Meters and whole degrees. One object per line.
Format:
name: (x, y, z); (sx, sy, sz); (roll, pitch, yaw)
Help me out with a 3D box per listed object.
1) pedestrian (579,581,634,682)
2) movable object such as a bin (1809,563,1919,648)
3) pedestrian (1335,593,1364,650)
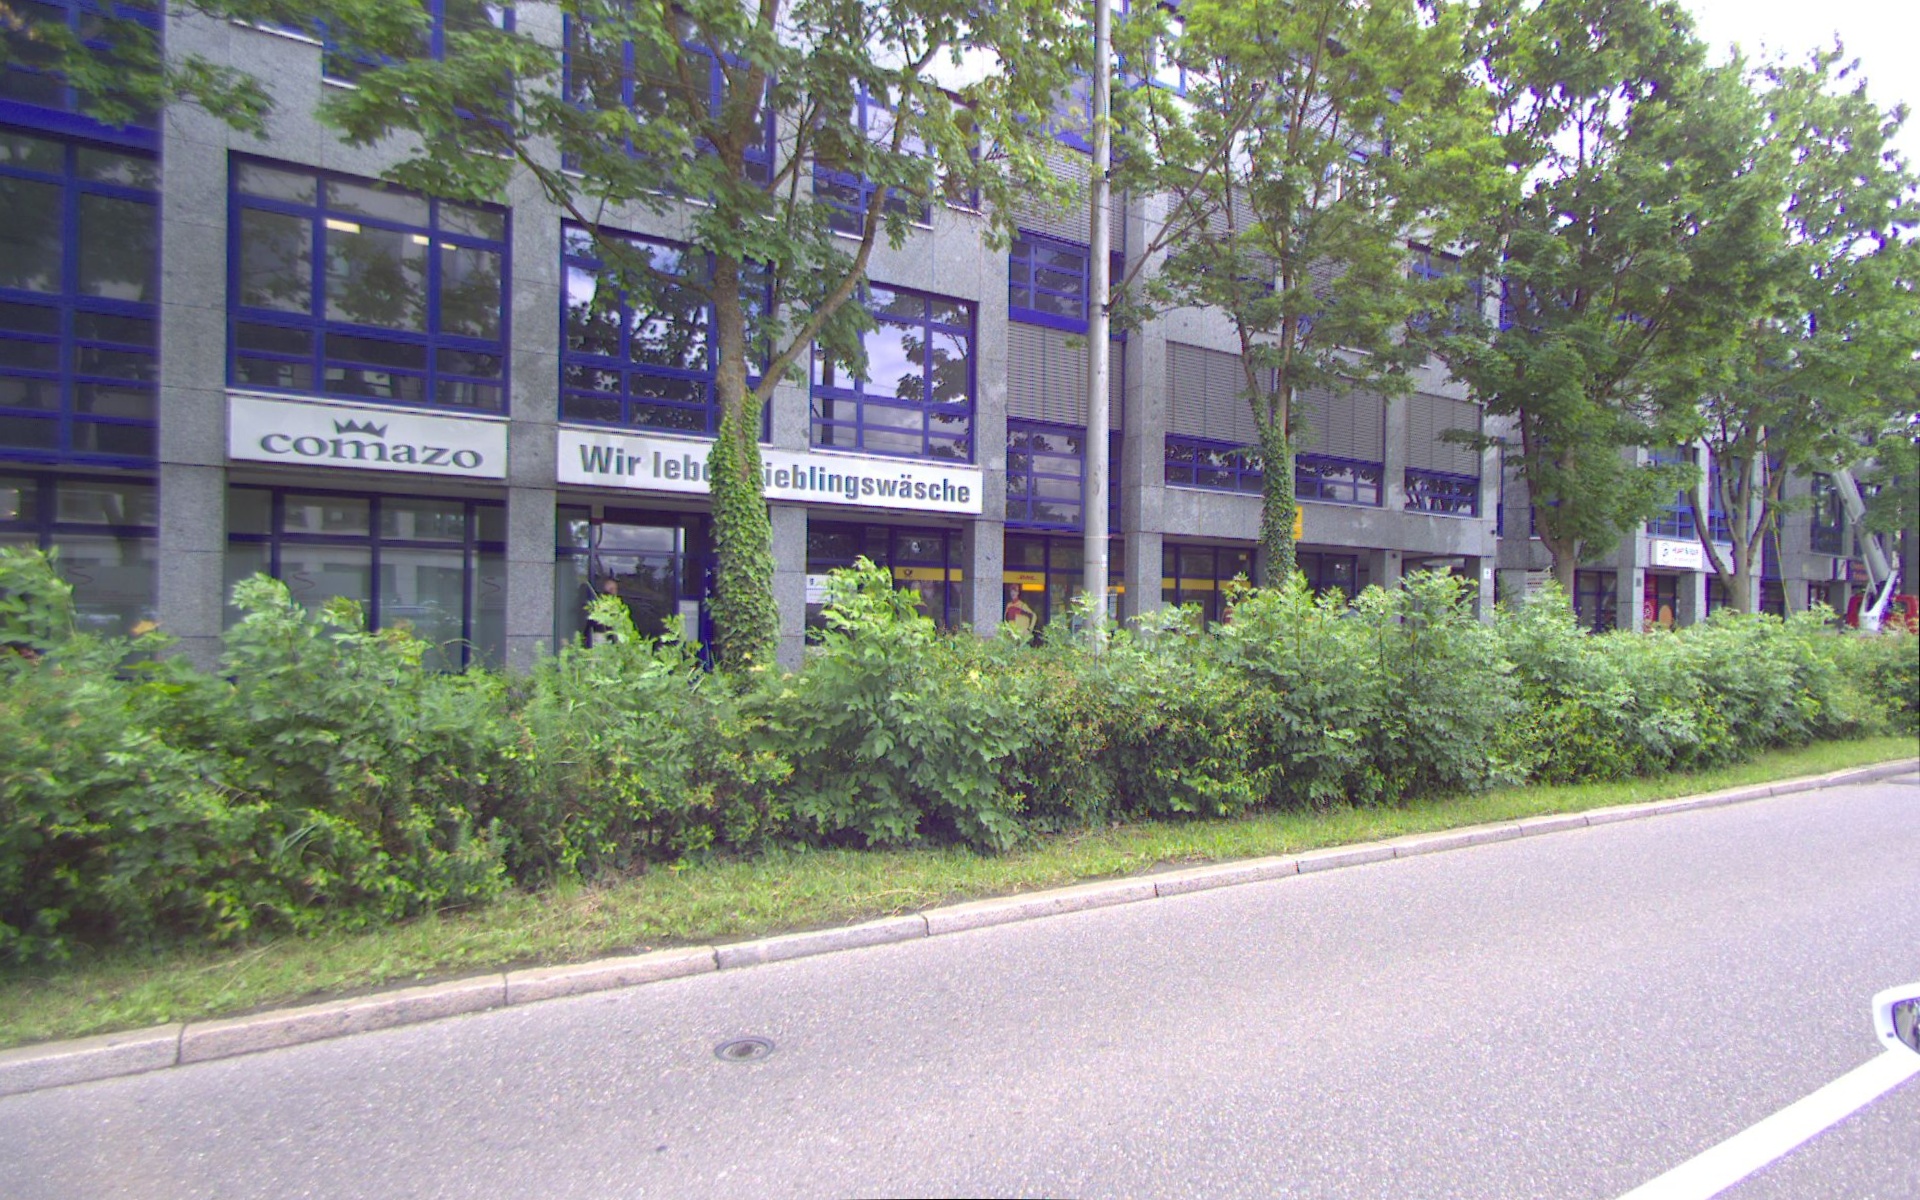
pedestrian: (-5.448, 0.470, 15.454); (0.671, 1.502, 0.694); (1, 1, -30)
movable object such as a bin: (29.578, 0.172, 32.508); (4.079, 2.565, 1.895); (1, 2, -31)
pedestrian: (9.558, 0.521, 24.636); (0.552, 1.352, 0.362); (0, 3, -35)
